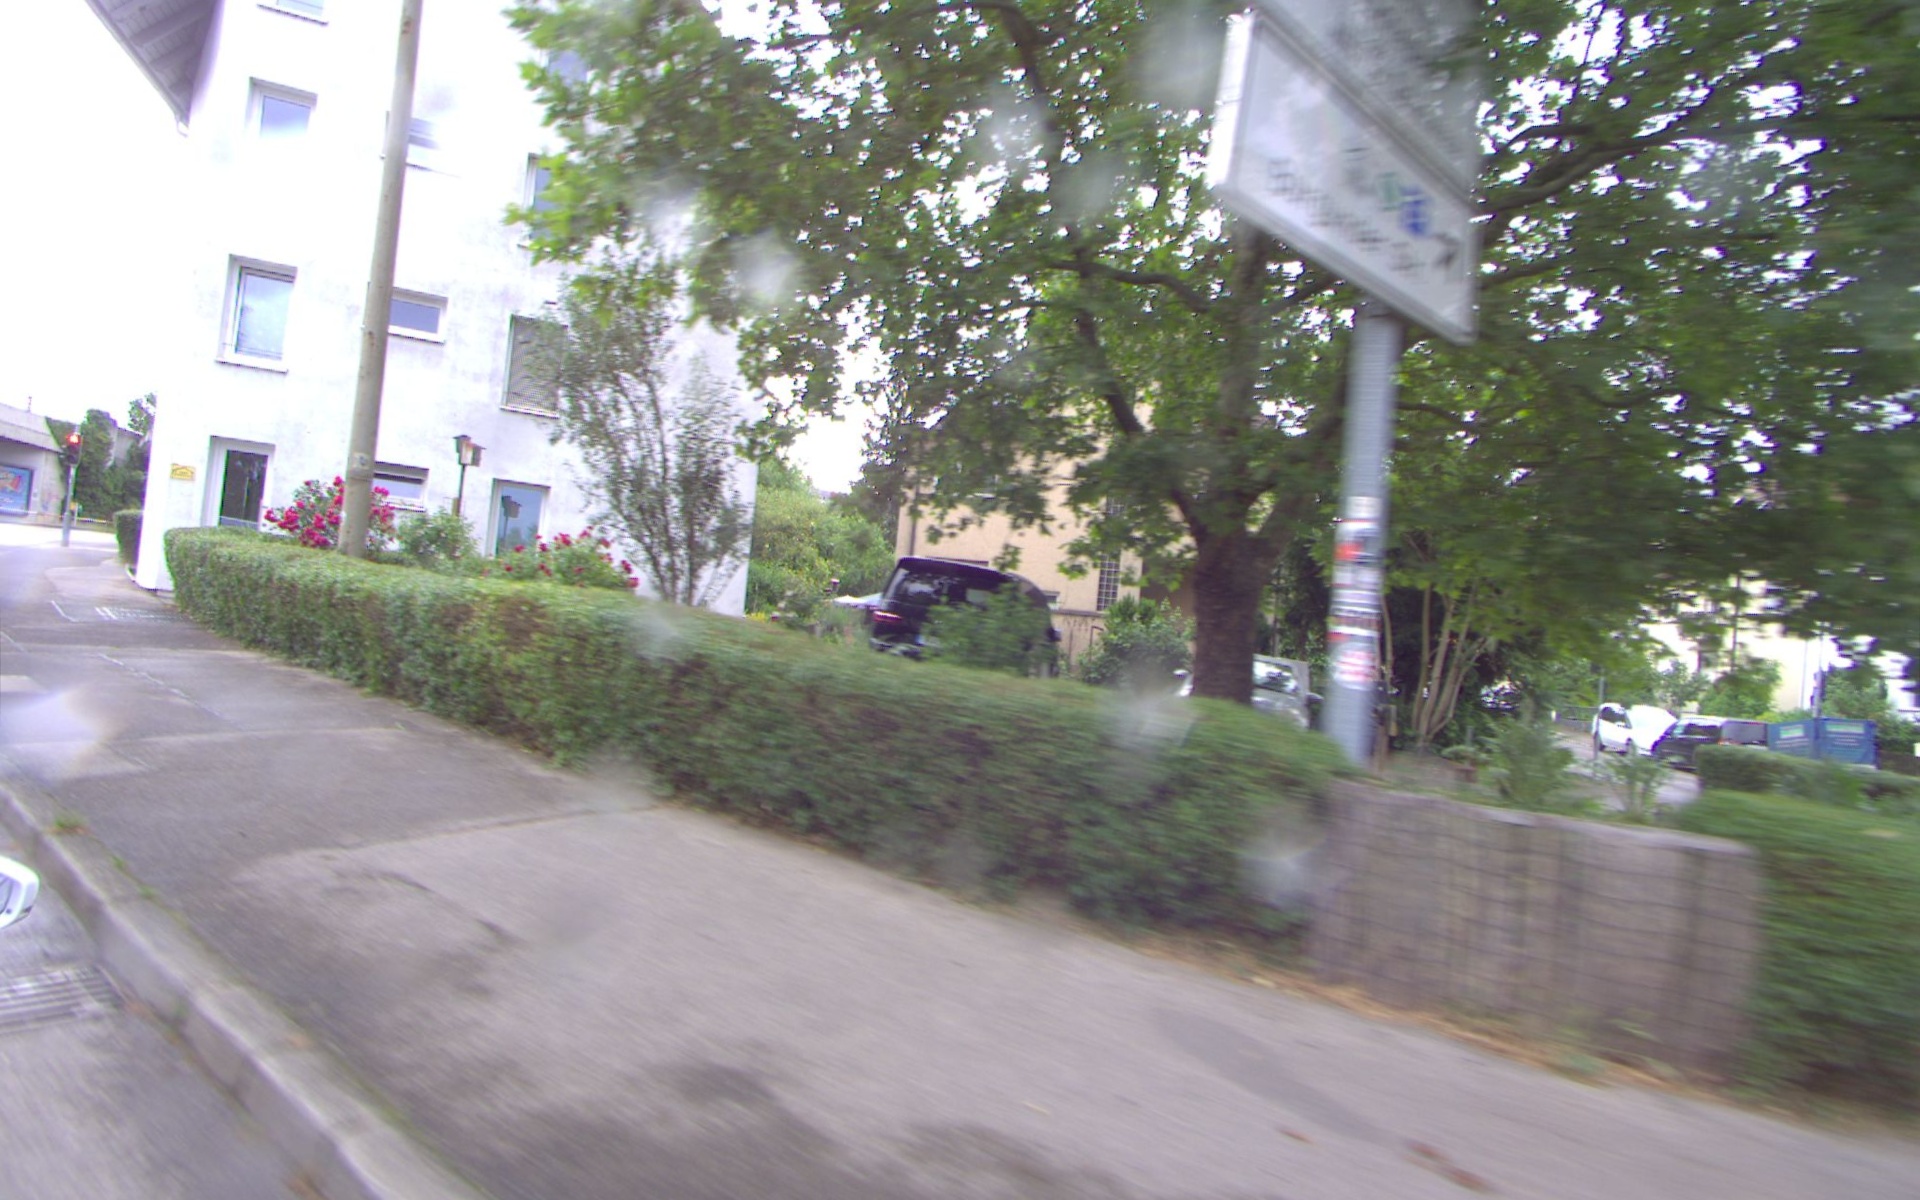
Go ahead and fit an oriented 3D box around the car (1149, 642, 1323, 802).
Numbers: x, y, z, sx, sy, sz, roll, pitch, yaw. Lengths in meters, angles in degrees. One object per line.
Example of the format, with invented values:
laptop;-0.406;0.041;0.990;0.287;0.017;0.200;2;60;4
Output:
car;3.819;1.534;13.610;1.788;1.598;4.003;7;-1;19

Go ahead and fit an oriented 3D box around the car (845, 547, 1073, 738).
car;0.206;0.592;13.719;1.962;1.954;4.419;7;-1;13

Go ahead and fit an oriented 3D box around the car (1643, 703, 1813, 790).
car;22.310;4.185;29.498;1.962;1.860;4.584;7;-1;11

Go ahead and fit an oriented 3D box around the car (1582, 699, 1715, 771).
car;23.598;4.560;34.694;1.962;1.860;4.584;7;-1;11

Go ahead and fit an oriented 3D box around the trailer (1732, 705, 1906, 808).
trailer;21.610;3.875;25.510;1.640;2.037;3.494;7;-1;10
